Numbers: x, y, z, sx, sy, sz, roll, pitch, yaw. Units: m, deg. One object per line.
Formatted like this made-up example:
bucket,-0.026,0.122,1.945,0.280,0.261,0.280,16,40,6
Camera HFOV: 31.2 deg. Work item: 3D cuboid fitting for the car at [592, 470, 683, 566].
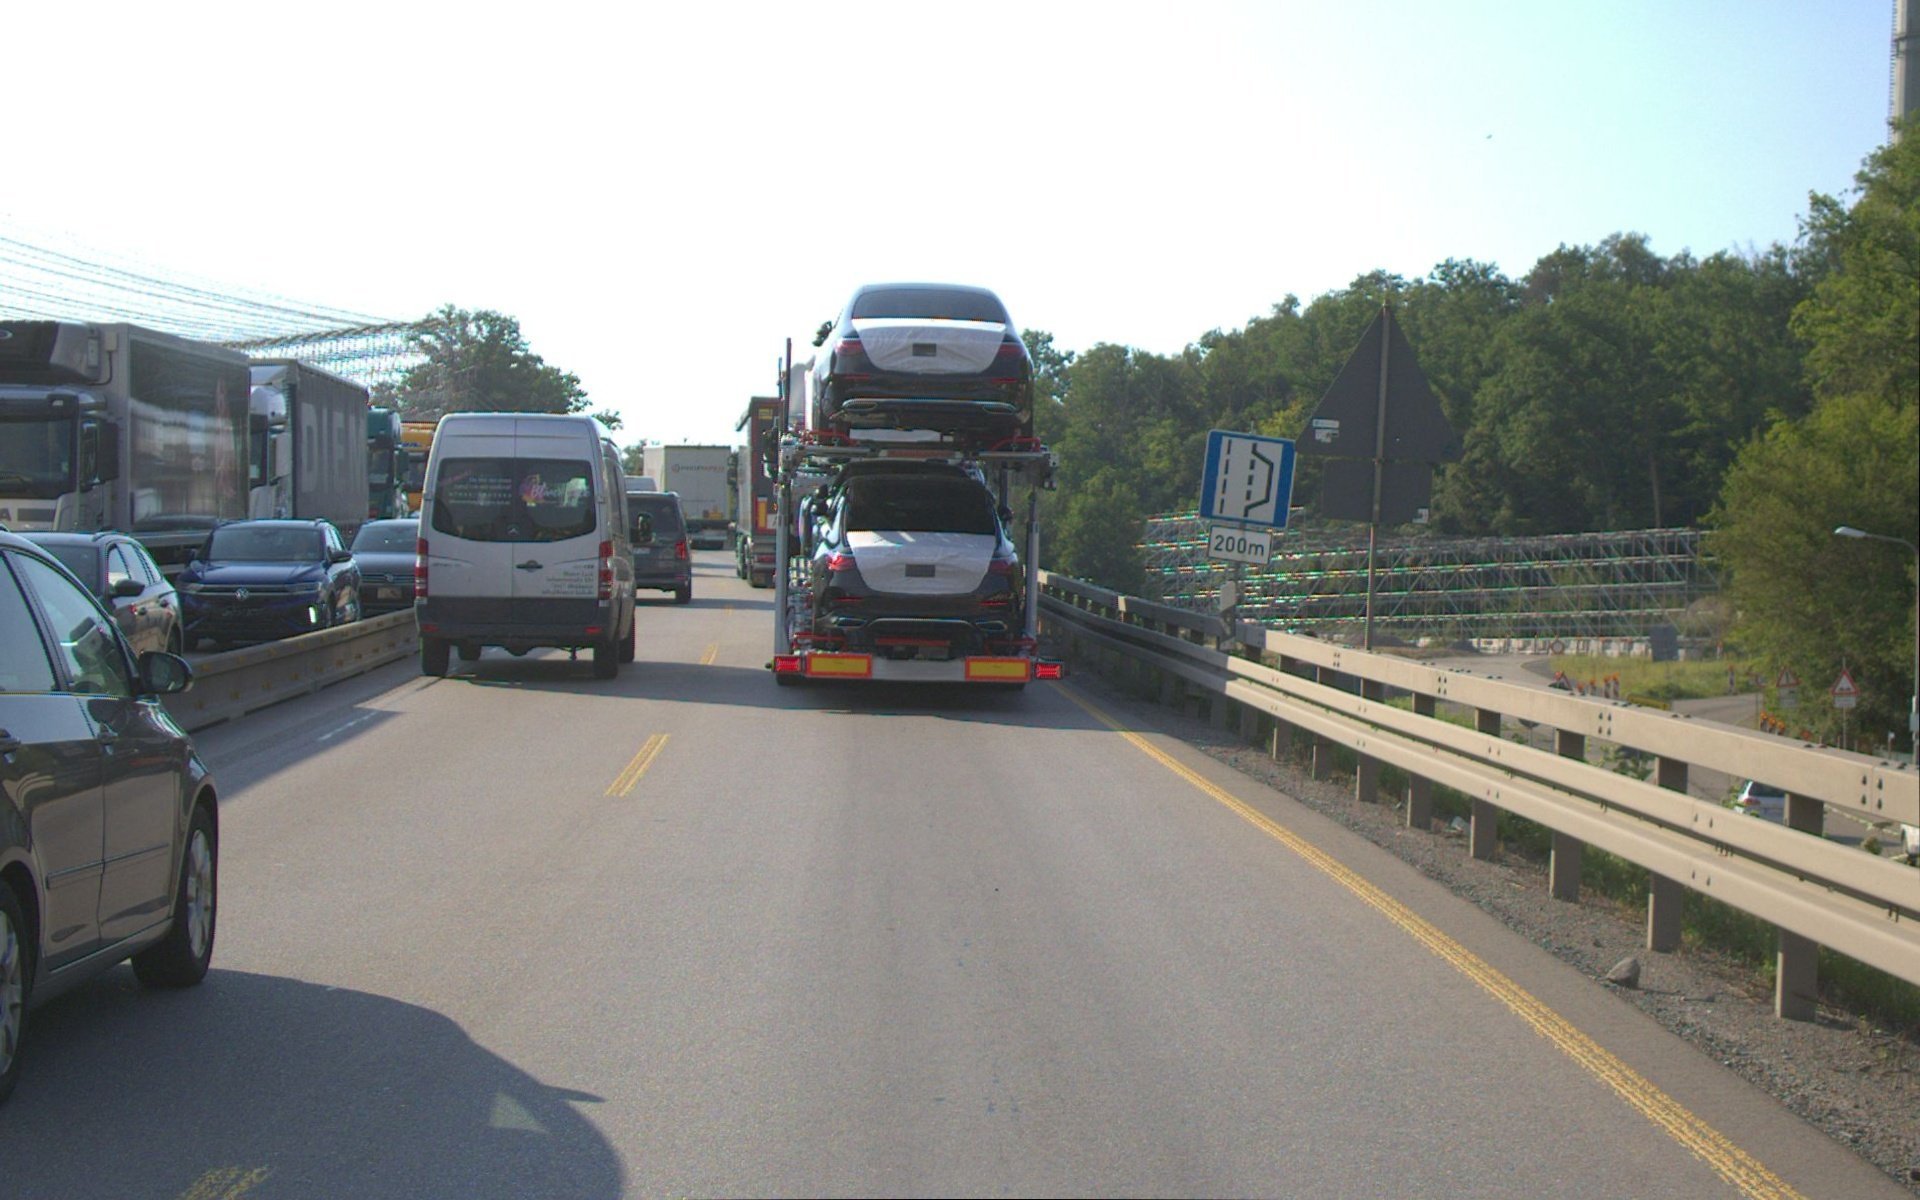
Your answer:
car,-6.839,-1.720,73.332,1.832,1.957,4.900,1,0,-4

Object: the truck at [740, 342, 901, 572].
truck,-3.211,-3.163,76.478,3.228,4.660,11.698,1,2,-3

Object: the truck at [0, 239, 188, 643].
truck,-11.122,-1.829,40.938,2.919,4.499,5.028,1,1,-3

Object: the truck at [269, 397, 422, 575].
truck,-13.717,-2.524,77.210,2.748,3.792,7.113,-1,1,-5

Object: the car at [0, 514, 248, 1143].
car,-3.324,0.549,10.230,1.700,1.581,4.147,0,1,-2

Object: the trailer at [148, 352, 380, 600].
trailer,-12.605,-2.200,63.320,2.714,4.108,12.495,-1,1,-5

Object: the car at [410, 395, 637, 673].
car,-4.422,-0.664,35.385,1.979,2.675,4.147,0,1,-3

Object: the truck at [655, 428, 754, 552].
truck,-10.114,-4.432,137.330,3.648,4.660,11.698,1,2,-3

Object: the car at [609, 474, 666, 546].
car,-9.591,-2.673,102.531,1.528,2.007,4.001,3,0,-4

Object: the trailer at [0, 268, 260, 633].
trailer,-11.406,-1.913,45.993,2.911,4.450,7.153,1,1,-3

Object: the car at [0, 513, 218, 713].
car,-7.336,0.077,27.826,1.774,1.452,4.815,2,0,-3

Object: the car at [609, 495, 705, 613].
car,-5.475,-0.824,62.418,1.528,2.007,4.001,3,0,-4

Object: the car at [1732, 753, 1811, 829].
car,18.862,4.418,80.003,1.526,1.456,4.266,0,1,10

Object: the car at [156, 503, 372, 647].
car,-8.123,-0.284,40.486,1.766,1.545,4.480,2,0,-2

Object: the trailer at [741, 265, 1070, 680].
trailer,-1.011,-1.327,40.782,2.874,3.980,15.282,0,1,-5

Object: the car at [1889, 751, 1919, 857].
car,19.617,4.013,67.152,1.862,1.979,5.051,0,-1,4

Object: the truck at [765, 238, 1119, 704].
truck,-0.315,-1.134,32.269,2.869,3.966,5.772,0,1,-5

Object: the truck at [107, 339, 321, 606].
truck,-11.956,-2.024,55.460,2.748,4.101,5.032,-1,1,-5

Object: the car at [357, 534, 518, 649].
car,-8.013,-0.133,53.078,1.862,1.581,4.746,4,0,-3

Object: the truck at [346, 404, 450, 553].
truck,-16.083,-3.416,98.595,2.700,4.126,5.796,0,1,-7
